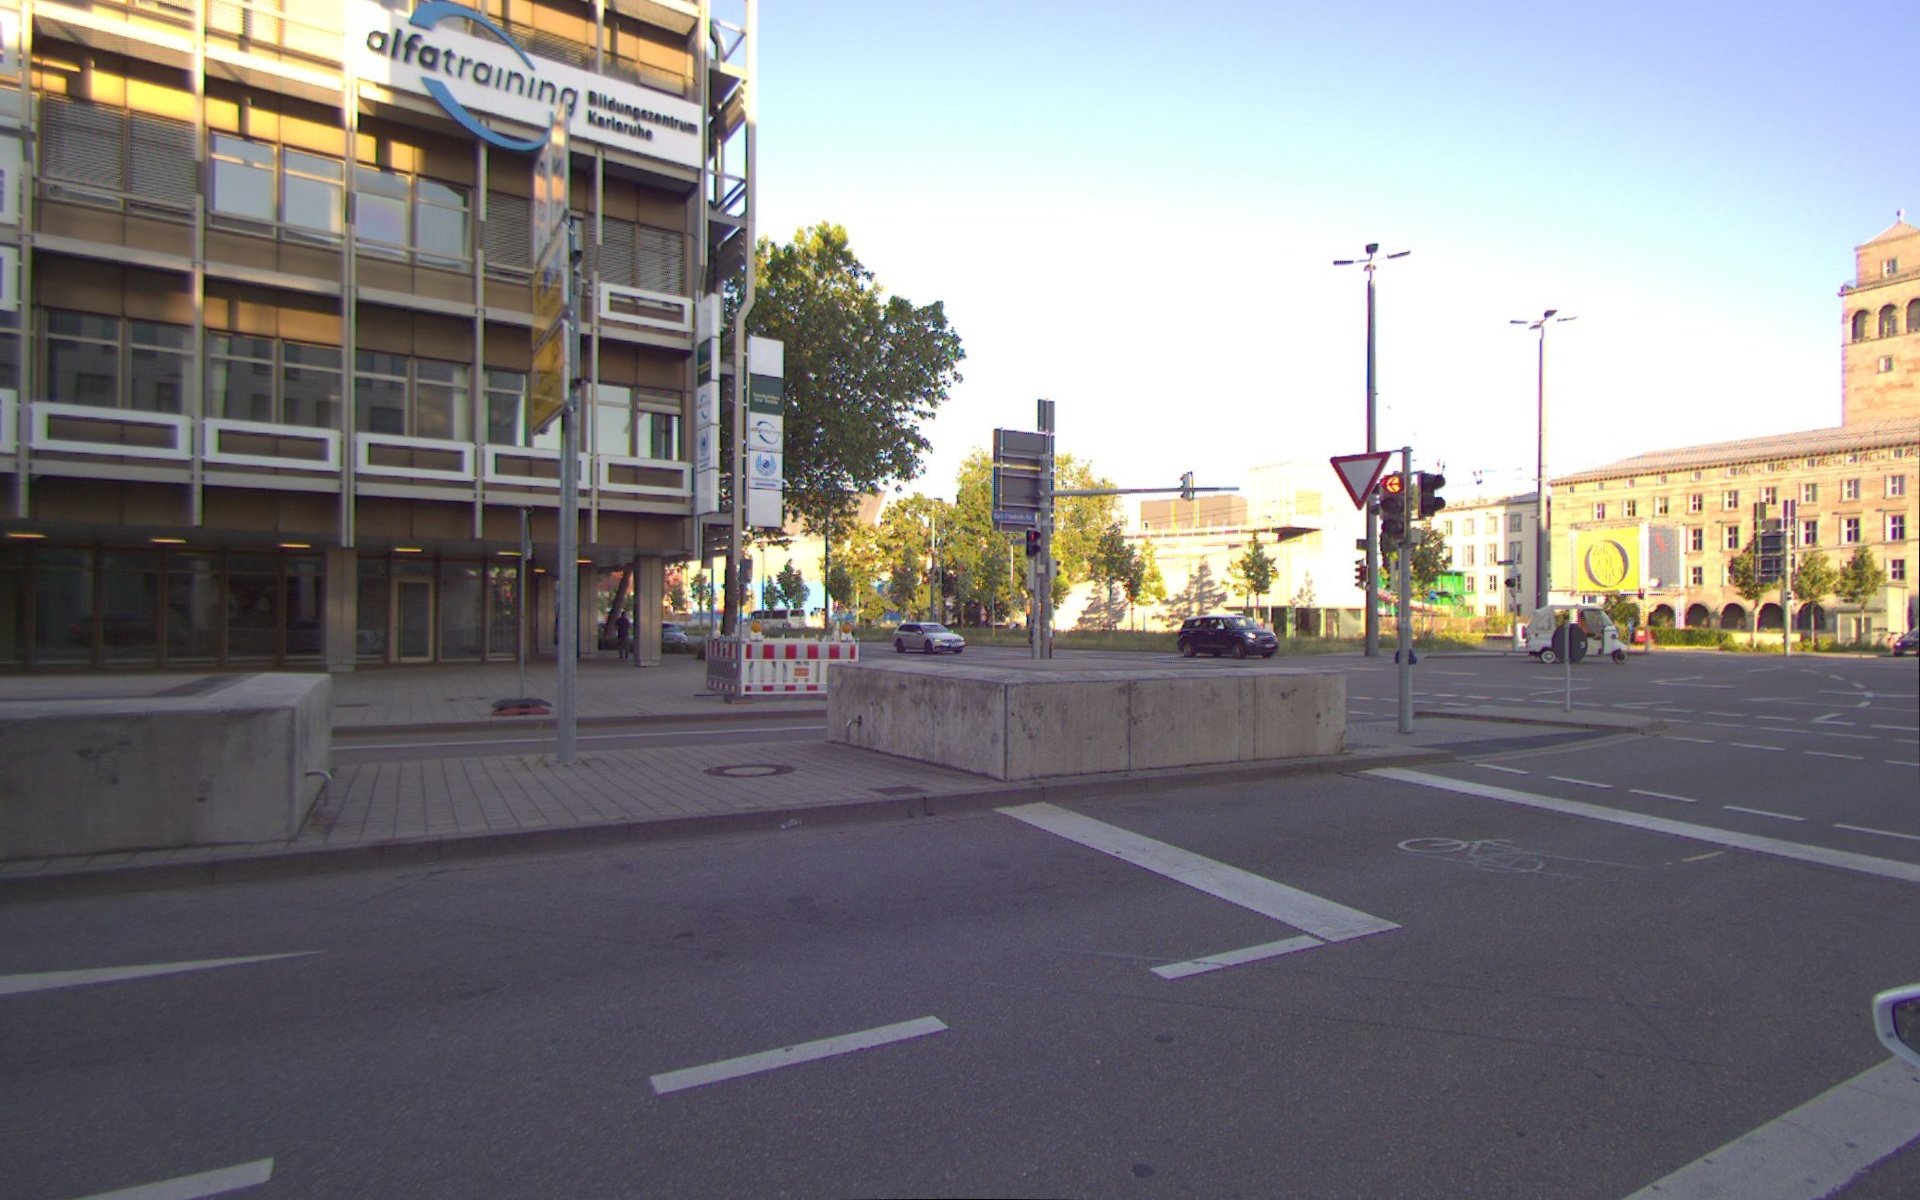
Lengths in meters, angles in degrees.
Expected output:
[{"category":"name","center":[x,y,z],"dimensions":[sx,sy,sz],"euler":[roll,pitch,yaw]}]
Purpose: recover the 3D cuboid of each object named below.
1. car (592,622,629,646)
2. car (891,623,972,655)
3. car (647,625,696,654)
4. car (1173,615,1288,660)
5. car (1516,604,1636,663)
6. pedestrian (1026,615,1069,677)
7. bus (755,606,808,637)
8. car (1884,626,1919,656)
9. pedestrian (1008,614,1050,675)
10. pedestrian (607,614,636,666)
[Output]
[{"category":"car","center":[-24.363,2.365,69.948],"dimensions":[1.722,1.605,3.764],"euler":[0,-1,-31]},{"category":"car","center":[-1.441,1.852,48.637],"dimensions":[1.831,1.476,4.551],"euler":[0,-1,-32]},{"category":"car","center":[-16.951,2.261,58.895],"dimensions":[1.722,1.605,4.554],"euler":[0,-1,-30]},{"category":"car","center":[10.290,1.393,38.461],"dimensions":[1.727,1.626,4.094],"euler":[1,-1,-35]},{"category":"car","center":[18.709,1.001,30.629],"dimensions":[2.917,1.718,1.487],"euler":[0,-1,23]},{"category":"pedestrian","center":[2.501,1.303,28.778],"dimensions":[0.949,1.744,0.816],"euler":[1,-1,-34]},{"category":"bus","center":[-23.237,2.801,130.194],"dimensions":[2.959,3.818,10.341],"euler":[1,-1,-34]},{"category":"car","center":[51.249,2.154,53.636],"dimensions":[4.111,1.485,1.813],"euler":[0,-1,-32]},{"category":"pedestrian","center":[2.027,1.292,29.524],"dimensions":[0.949,1.744,0.816],"euler":[1,-1,-34]},{"category":"pedestrian","center":[-12.007,1.416,35.635],"dimensions":[0.749,1.830,0.715],"euler":[2,0,-35]}]
